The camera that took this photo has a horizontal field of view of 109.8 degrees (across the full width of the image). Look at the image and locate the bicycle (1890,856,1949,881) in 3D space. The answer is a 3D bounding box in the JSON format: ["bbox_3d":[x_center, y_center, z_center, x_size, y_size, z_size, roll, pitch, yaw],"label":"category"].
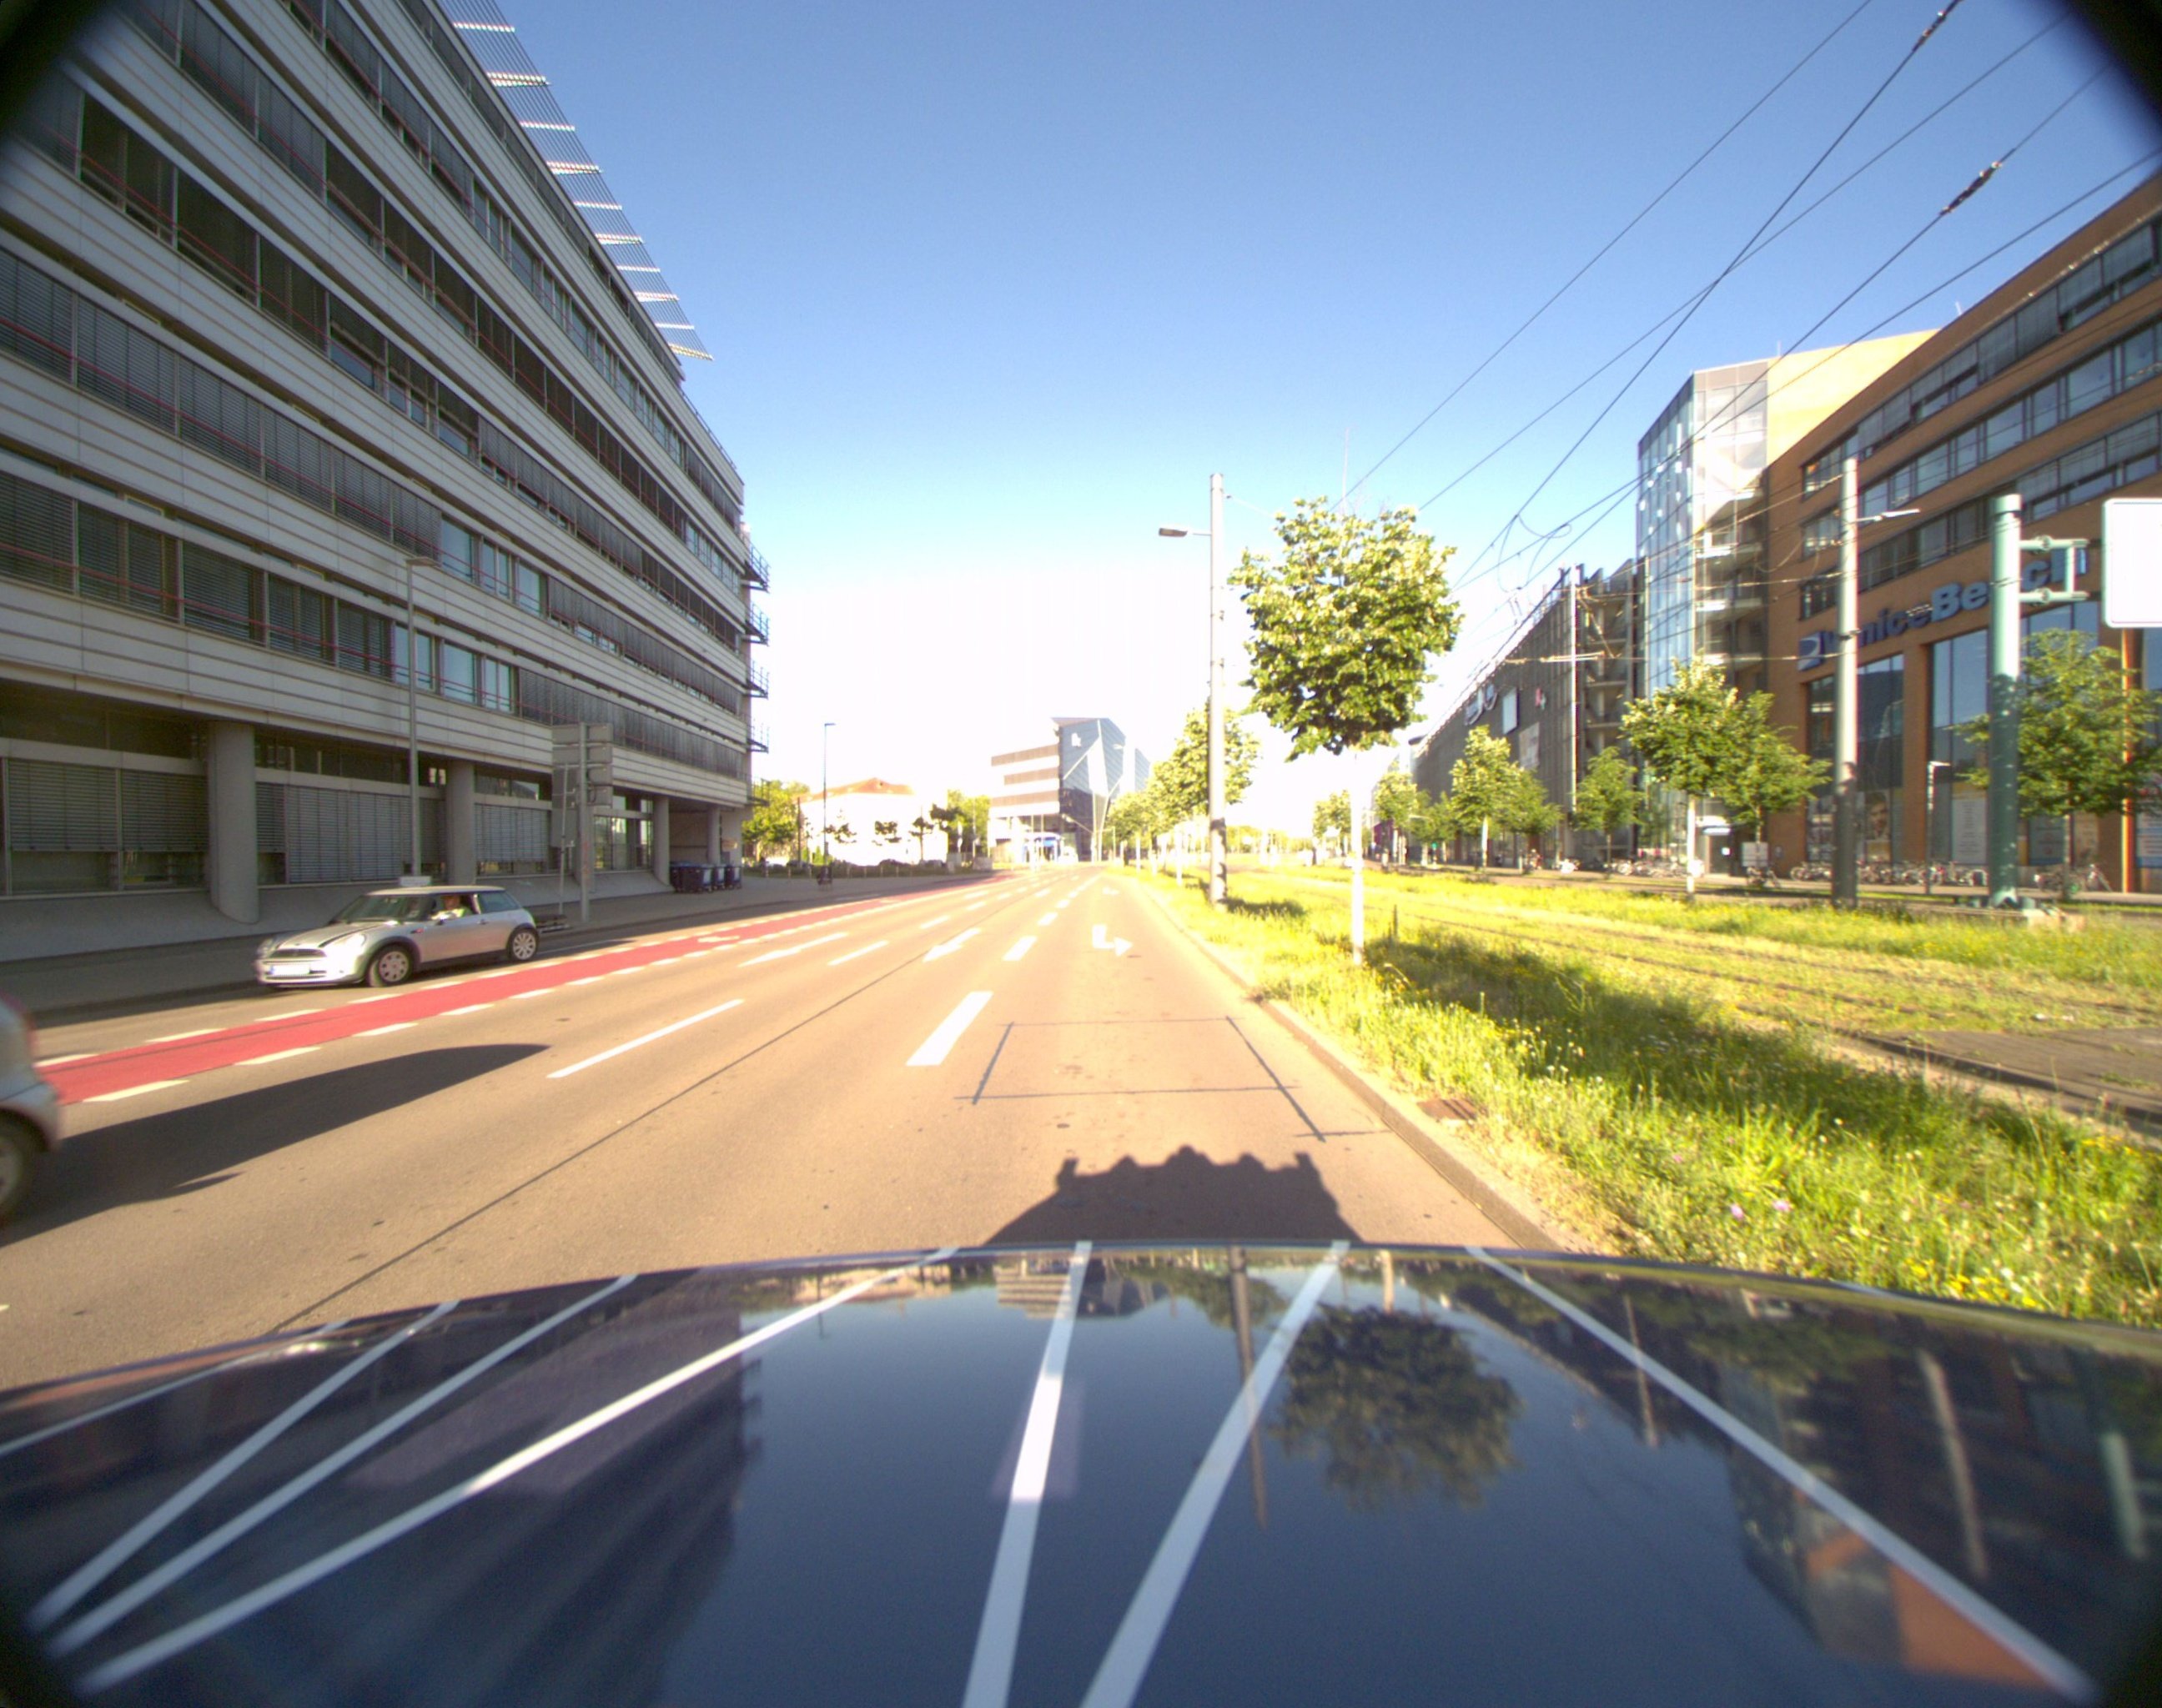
[{"bbox_3d":[35.373,0.607,32.075,1.769,1.043,0.491,-1,1,8],"label":"bicycle"}]

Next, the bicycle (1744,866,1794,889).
[{"bbox_3d":[27.956,0.940,30.891,0.464,0.863,1.771,-1,1,1],"label":"bicycle"}]

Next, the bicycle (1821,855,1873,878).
[{"bbox_3d":[35.692,0.567,35.414,1.769,1.043,0.491,-1,1,8],"label":"bicycle"}]

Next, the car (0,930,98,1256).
[{"bbox_3d":[-5.678,1.123,1.828,1.620,1.421,3.767,-2,1,1],"label":"car"}]

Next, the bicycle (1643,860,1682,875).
[{"bbox_3d":[35.155,0.822,45.960,1.768,0.921,0.565,-1,1,17],"label":"bicycle"}]

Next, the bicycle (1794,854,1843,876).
[{"bbox_3d":[35.896,0.557,36.993,1.769,1.043,0.491,-1,1,8],"label":"bicycle"}]

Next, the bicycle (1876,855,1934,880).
[{"bbox_3d":[35.499,0.597,32.755,1.769,1.043,0.491,-1,1,8],"label":"bicycle"}]

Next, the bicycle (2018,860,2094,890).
[{"bbox_3d":[34.087,0.732,26.574,1.769,1.043,0.491,-1,1,8],"label":"bicycle"}]

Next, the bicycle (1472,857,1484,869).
[{"bbox_3d":[31.594,0.672,60.483,0.386,0.918,1.773,0,1,13],"label":"bicycle"}]

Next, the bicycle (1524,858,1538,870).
[{"bbox_3d":[32.671,0.727,55.203,0.386,0.863,1.773,0,1,13],"label":"bicycle"}]

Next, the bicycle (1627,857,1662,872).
[{"bbox_3d":[36.016,0.681,48.562,1.768,0.921,0.491,-1,1,17],"label":"bicycle"}]

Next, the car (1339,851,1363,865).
[{"bbox_3d":[26.327,0.381,74.186,1.808,1.320,4.409,0,1,13],"label":"car"}]

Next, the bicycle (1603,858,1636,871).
[{"bbox_3d":[36.731,0.716,51.820,1.768,0.921,0.491,-1,1,17],"label":"bicycle"}]

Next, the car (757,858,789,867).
[{"bbox_3d":[-45.446,1.285,112.083,3.990,1.237,2.003,-1,1,22],"label":"car"}]

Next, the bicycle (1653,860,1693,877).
[{"bbox_3d":[34.678,0.851,44.510,1.768,0.921,0.565,-1,1,17],"label":"bicycle"}]

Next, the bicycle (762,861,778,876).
[{"bbox_3d":[-24.626,1.146,60.179,0.505,1.052,1.702,2,1,2],"label":"bicycle"}]

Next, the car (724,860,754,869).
[{"bbox_3d":[-51.618,1.586,114.625,3.990,1.368,1.938,-1,1,24],"label":"car"}]

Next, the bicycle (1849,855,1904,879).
[{"bbox_3d":[35.630,0.581,34.052,1.769,1.043,0.491,-1,1,8],"label":"bicycle"}]

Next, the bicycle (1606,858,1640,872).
[{"bbox_3d":[36.514,0.729,51.171,1.768,0.921,0.565,-1,1,17],"label":"bicycle"}]

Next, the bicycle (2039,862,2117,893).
[{"bbox_3d":[34.077,0.802,25.989,1.769,1.043,0.491,-1,1,8],"label":"bicycle"}]

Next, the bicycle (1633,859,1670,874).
[{"bbox_3d":[35.489,0.799,47.287,1.768,0.921,0.565,-1,1,17],"label":"bicycle"}]

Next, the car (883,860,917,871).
[{"bbox_3d":[-24.864,1.600,104.354,3.991,1.414,2.003,-1,1,20],"label":"car"}]

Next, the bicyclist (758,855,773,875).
[{"bbox_3d":[-24.937,0.865,60.026,0.685,1.609,0.991,-1,1,2],"label":"bicyclist"}]

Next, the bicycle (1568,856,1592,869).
[{"bbox_3d":[37.597,0.648,57.263,1.398,0.921,0.462,-1,1,17],"label":"bicycle"}]

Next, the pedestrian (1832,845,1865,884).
[{"bbox_3d":[33.133,0.445,32.820,0.746,1.659,0.676,-1,1,7],"label":"pedestrian"}]

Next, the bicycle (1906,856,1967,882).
[{"bbox_3d":[35.328,0.614,31.393,1.769,1.043,0.491,-1,1,8],"label":"bicycle"}]

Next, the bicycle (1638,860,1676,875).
[{"bbox_3d":[35.336,0.810,46.612,1.768,0.921,0.565,-1,1,17],"label":"bicycle"}]

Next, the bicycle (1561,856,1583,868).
[{"bbox_3d":[37.975,0.622,58.753,1.398,0.921,0.462,-1,1,17],"label":"bicycle"}]

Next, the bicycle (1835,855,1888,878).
[{"bbox_3d":[35.660,0.574,34.725,1.769,1.043,0.491,-1,1,8],"label":"bicycle"}]

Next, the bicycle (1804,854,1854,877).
[{"bbox_3d":[35.812,0.554,36.397,1.769,1.043,0.491,-1,1,8],"label":"bicycle"}]

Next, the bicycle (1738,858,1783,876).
[{"bbox_3d":[37.397,0.717,41.850,1.768,0.921,0.565,-1,1,17],"label":"bicycle"}]

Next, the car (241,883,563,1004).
[{"bbox_3d":[-10.464,1.282,12.181,1.439,1.437,4.000,-1,0,2],"label":"car"}]

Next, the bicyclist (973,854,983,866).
[{"bbox_3d":[-13.296,0.754,98.114,1.006,1.598,0.880,-1,1,14],"label":"bicyclist"}]

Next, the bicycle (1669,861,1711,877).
[{"bbox_3d":[34.763,0.858,43.390,1.768,0.921,0.565,-1,1,17],"label":"bicycle"}]

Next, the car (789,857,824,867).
[{"bbox_3d":[-39.747,1.157,110.025,4.516,1.414,2.003,-1,1,19],"label":"car"}]

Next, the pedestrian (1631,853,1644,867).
[{"bbox_3d":[40.748,0.429,55.627,0.629,1.048,0.450,-1,1,13],"label":"pedestrian"}]

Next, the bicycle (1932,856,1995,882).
[{"bbox_3d":[35.673,0.608,30.728,1.769,1.043,0.491,-1,1,8],"label":"bicycle"}]

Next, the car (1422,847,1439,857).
[{"bbox_3d":[54.265,-0.364,118.120,1.582,1.521,3.754,-2,1,13],"label":"car"}]

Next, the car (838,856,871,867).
[{"bbox_3d":[-31.829,1.024,106.927,3.991,1.414,2.003,-1,1,20],"label":"car"}]

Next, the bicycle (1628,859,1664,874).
[{"bbox_3d":[35.686,0.786,47.994,1.768,0.921,0.565,-1,1,17],"label":"bicycle"}]

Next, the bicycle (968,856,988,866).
[{"bbox_3d":[-13.281,0.912,98.098,2.368,1.304,0.952,-1,1,13],"label":"bicycle"}]

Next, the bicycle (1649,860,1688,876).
[{"bbox_3d":[34.942,0.836,45.221,1.768,0.921,0.565,-1,1,17],"label":"bicycle"}]
